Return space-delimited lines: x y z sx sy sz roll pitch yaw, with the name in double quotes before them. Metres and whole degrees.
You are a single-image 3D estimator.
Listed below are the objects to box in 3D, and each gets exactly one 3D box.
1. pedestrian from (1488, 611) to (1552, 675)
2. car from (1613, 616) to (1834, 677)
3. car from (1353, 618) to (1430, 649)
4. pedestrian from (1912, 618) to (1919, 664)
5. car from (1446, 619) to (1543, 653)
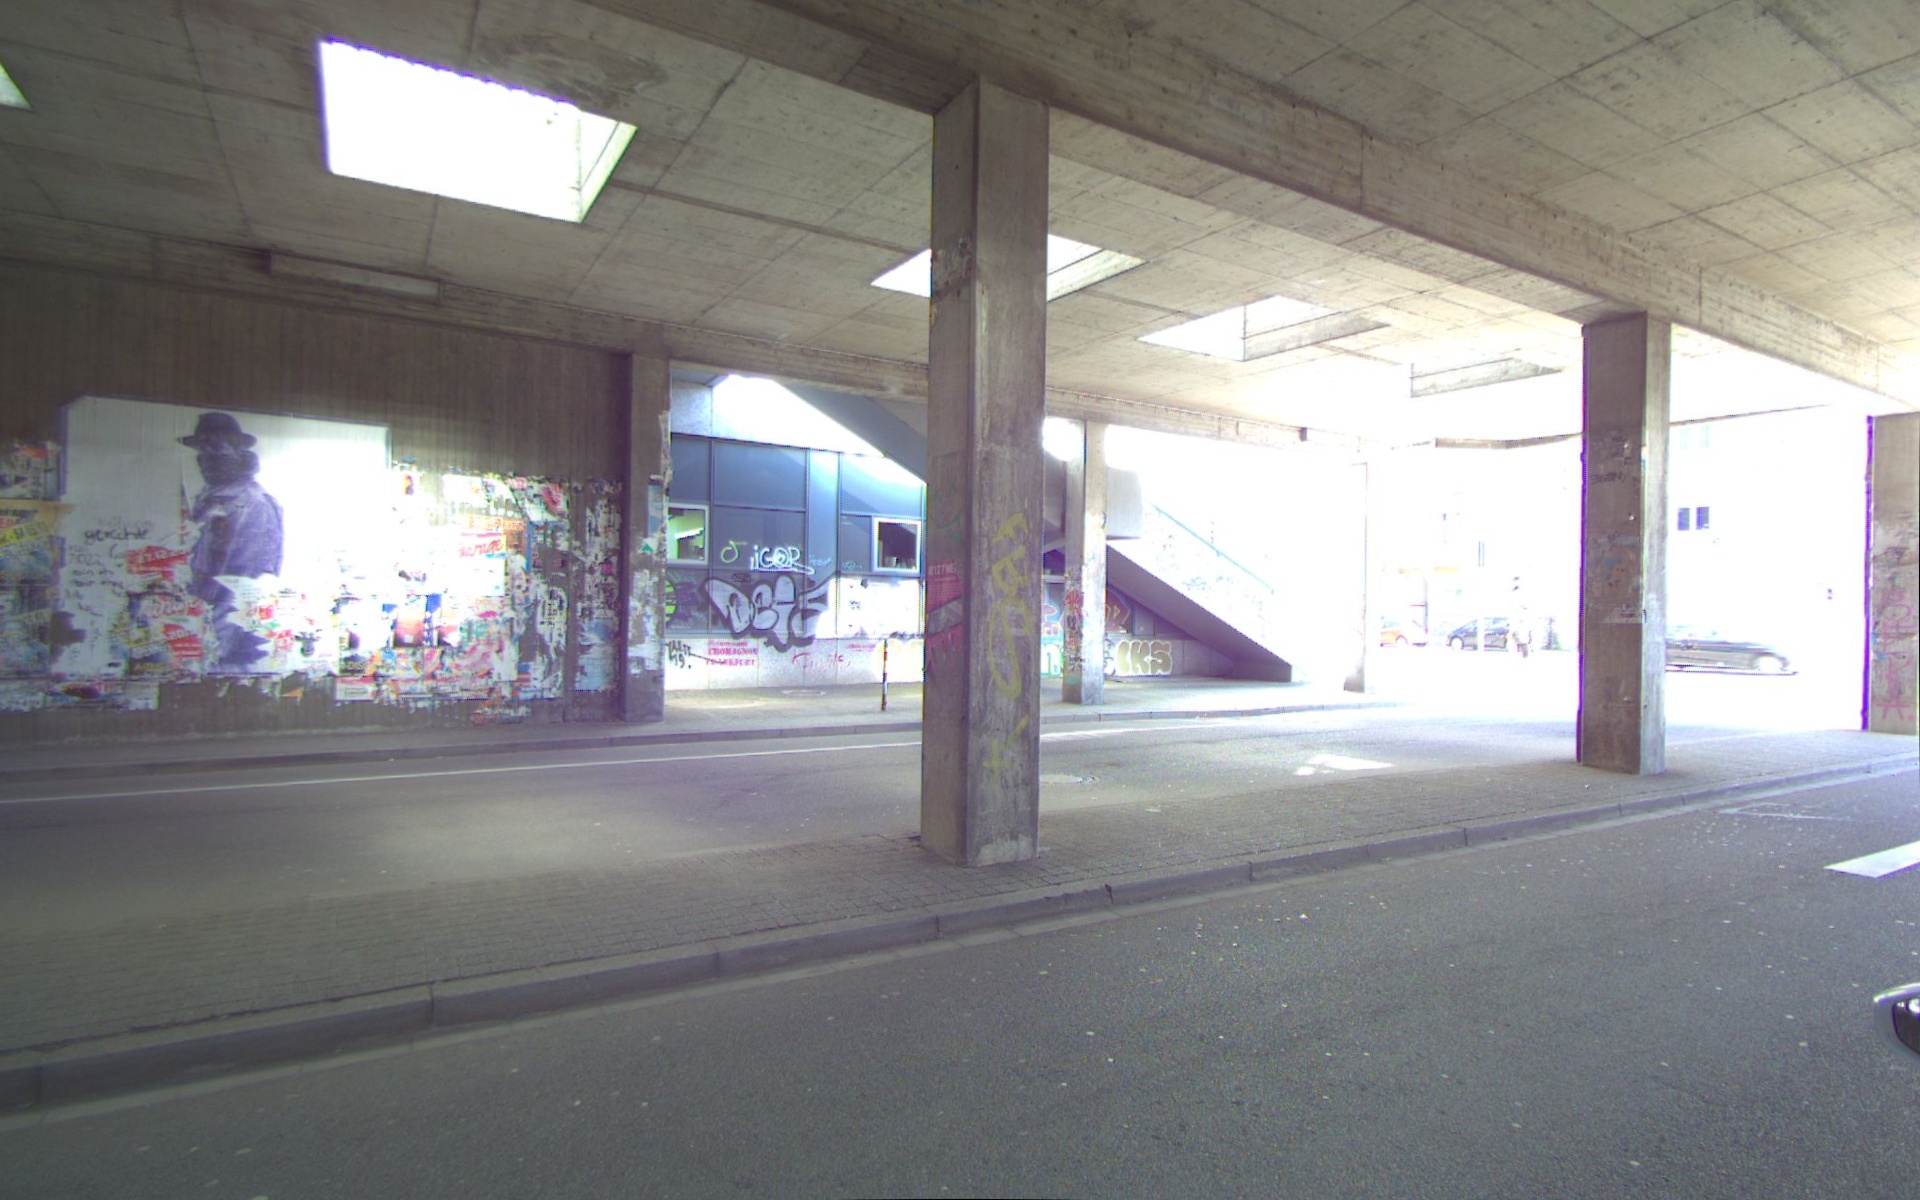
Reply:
"pedestrian" 15.818 1.211 28.393 1.123 1.760 1.111 1 -1 -17
"car" 21.753 1.267 28.849 1.973 1.554 4.704 1 -1 -26
"car" 22.485 1.718 52.462 1.543 1.526 3.518 1 -1 -29
"pedestrian" 36.514 1.568 37.866 0.711 1.727 0.622 2 0 -17
"car" 25.375 1.670 47.813 1.732 1.528 3.735 1 -1 -31
